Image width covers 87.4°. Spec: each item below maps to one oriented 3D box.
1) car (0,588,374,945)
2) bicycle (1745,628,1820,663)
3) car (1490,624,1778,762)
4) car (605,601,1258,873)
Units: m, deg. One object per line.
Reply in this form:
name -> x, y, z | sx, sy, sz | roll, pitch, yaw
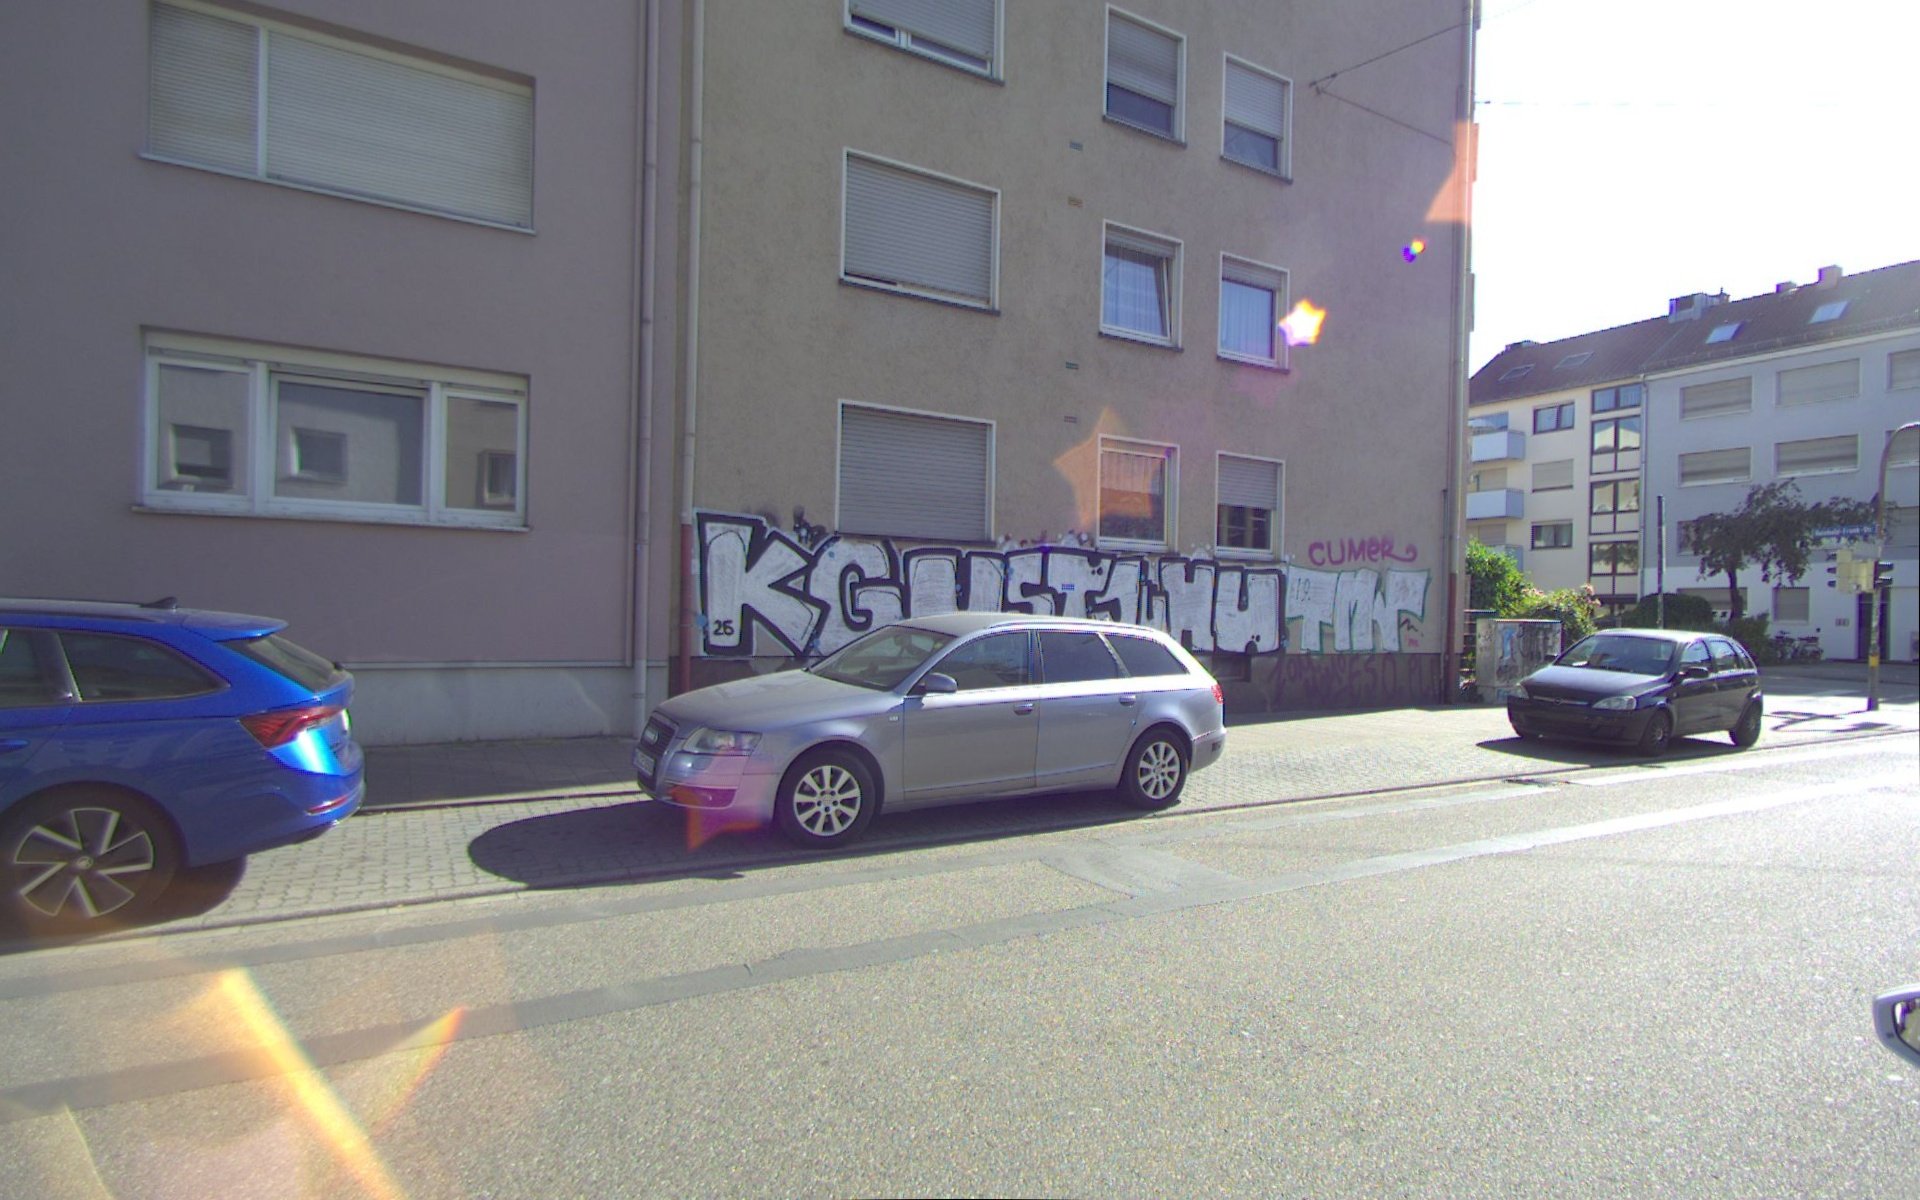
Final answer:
car -> -5.344, 0.698, 4.597 | 4.559, 1.485, 1.709 | 1, 2, -31
bicycle -> 29.765, 1.650, 36.404 | 2.068, 1.188, 0.738 | 0, -1, 37
car -> 8.639, 1.092, 12.827 | 3.667, 1.444, 1.608 | 1, 1, -31
car -> -0.071, 0.838, 7.702 | 4.759, 1.485, 1.708 | 1, 2, -31
